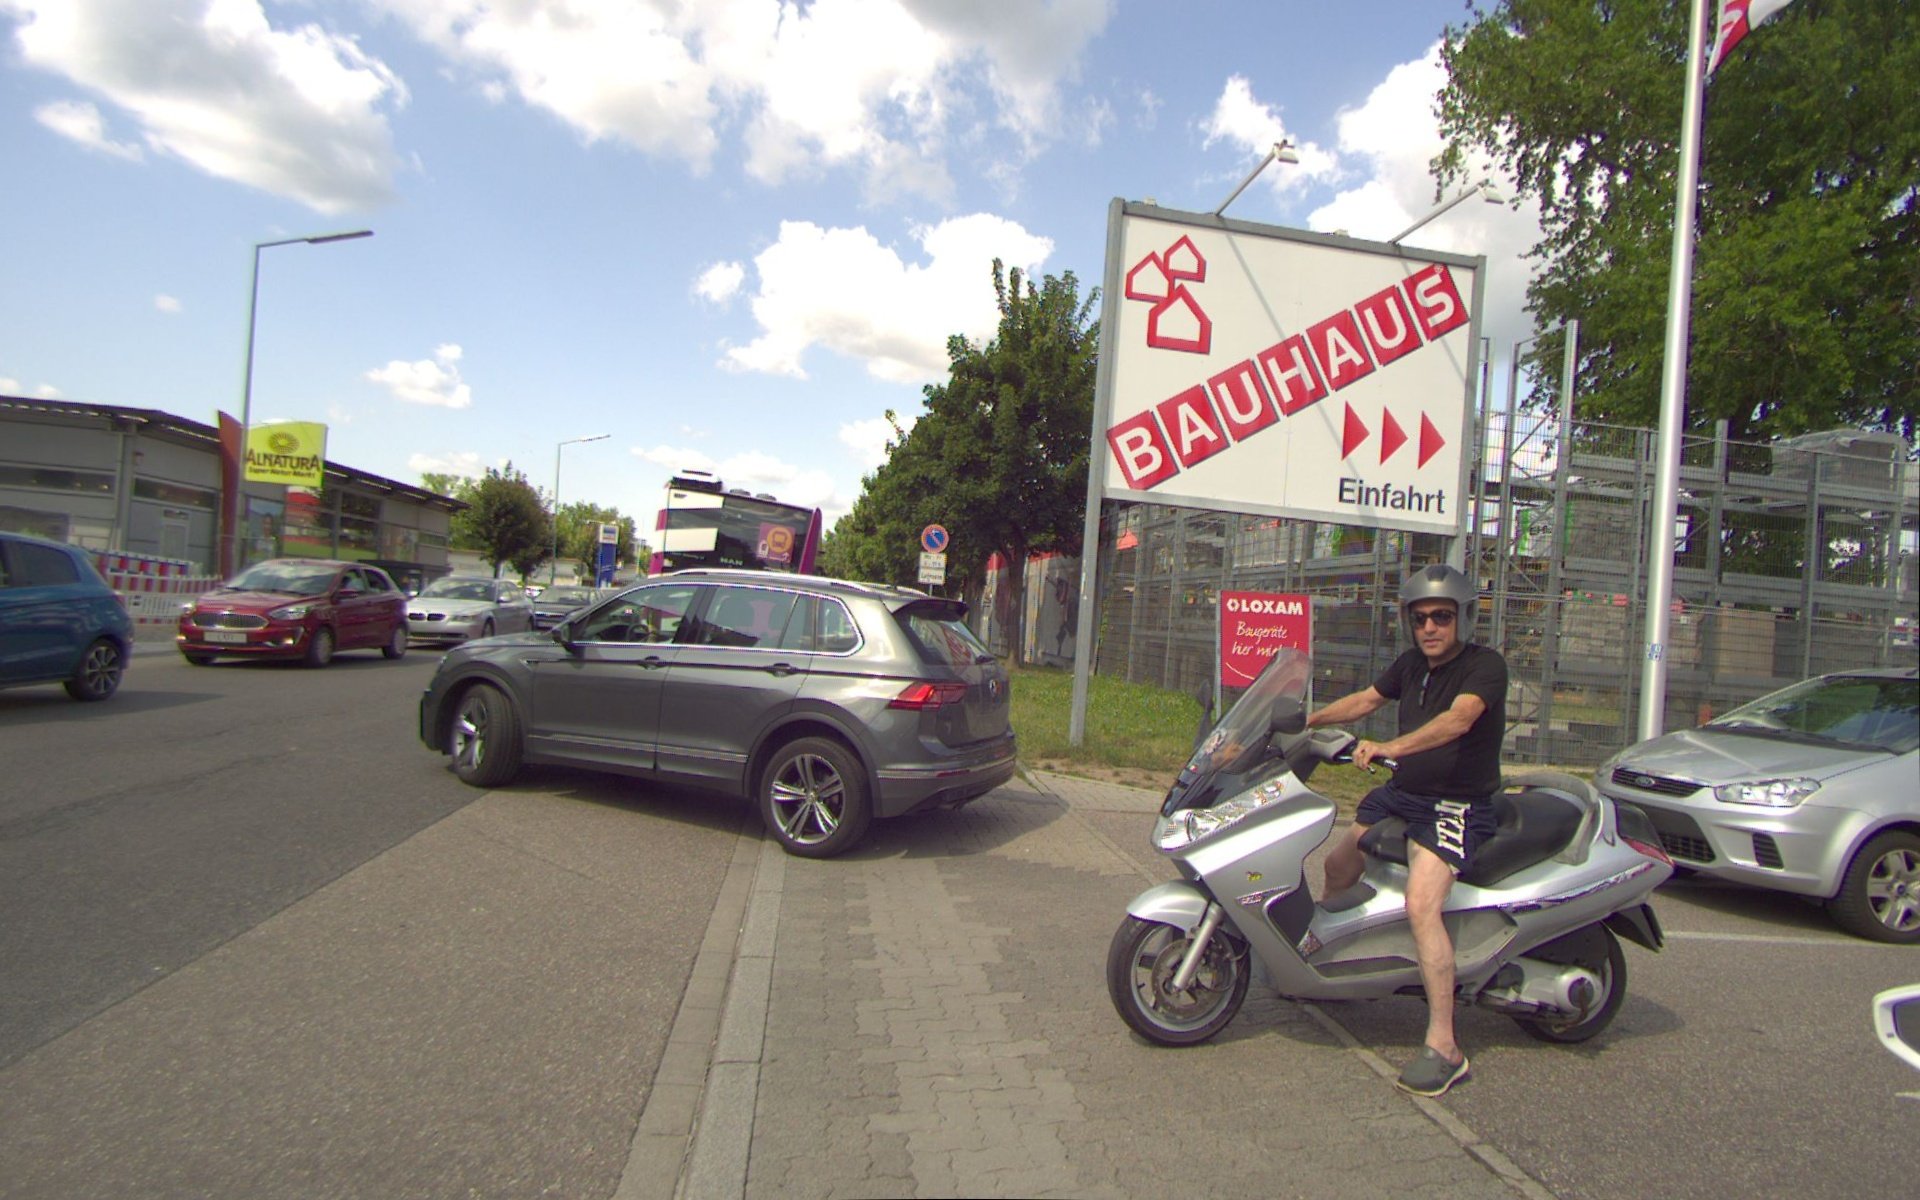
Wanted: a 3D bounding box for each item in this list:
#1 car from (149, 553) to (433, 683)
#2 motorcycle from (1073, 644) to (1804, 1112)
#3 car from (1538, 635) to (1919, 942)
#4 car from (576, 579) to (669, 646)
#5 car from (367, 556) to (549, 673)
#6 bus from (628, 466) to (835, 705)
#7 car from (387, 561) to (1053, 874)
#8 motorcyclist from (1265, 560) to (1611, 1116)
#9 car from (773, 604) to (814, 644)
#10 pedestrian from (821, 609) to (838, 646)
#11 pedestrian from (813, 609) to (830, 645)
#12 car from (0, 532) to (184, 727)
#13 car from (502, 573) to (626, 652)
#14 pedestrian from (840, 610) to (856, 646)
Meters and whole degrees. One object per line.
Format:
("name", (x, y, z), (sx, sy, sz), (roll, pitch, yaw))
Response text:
("car", (-9.655, 0.271, 14.965), (1.759, 1.529, 4.188), (4, -1, -8))
("motorcycle", (1.566, 0.898, 3.446), (2.172, 1.323, 0.672), (4, -1, -6))
("car", (6.294, 1.189, 6.498), (4.130, 1.585, 1.722), (4, -1, -5))
("car", (-11.686, 0.440, 35.151), (1.963, 2.040, 4.784), (4, -1, -6))
("car", (-10.267, 0.313, 20.972), (1.889, 2.040, 4.454), (4, -1, -7))
("bus", (-4.206, -0.112, 20.958), (2.840, 3.408, 11.555), (4, -1, -8))
("car", (-1.665, 0.660, 7.158), (4.299, 1.688, 1.770), (2, -1, 19))
("motorcyclist", (1.578, 0.735, 3.440), (0.674, 1.650, 0.788), (4, -1, -6))
("car", (-7.029, 1.033, 42.614), (1.530, 1.569, 3.198), (3, -2, -8))
("pedestrian", (-5.356, 1.134, 41.356), (0.382, 1.447, 0.377), (6, -2, 20))
("pedestrian", (-5.784, 1.124, 41.954), (0.382, 1.447, 0.377), (6, -2, 20))
("car", (-8.391, 0.174, 7.890), (1.666, 1.533, 4.190), (4, -1, -8))
("car", (-11.203, 0.367, 28.807), (1.963, 1.938, 4.784), (4, -1, -6))
("pedestrian", (-4.719, 1.183, 42.248), (0.382, 1.447, 0.377), (6, -2, 20))
